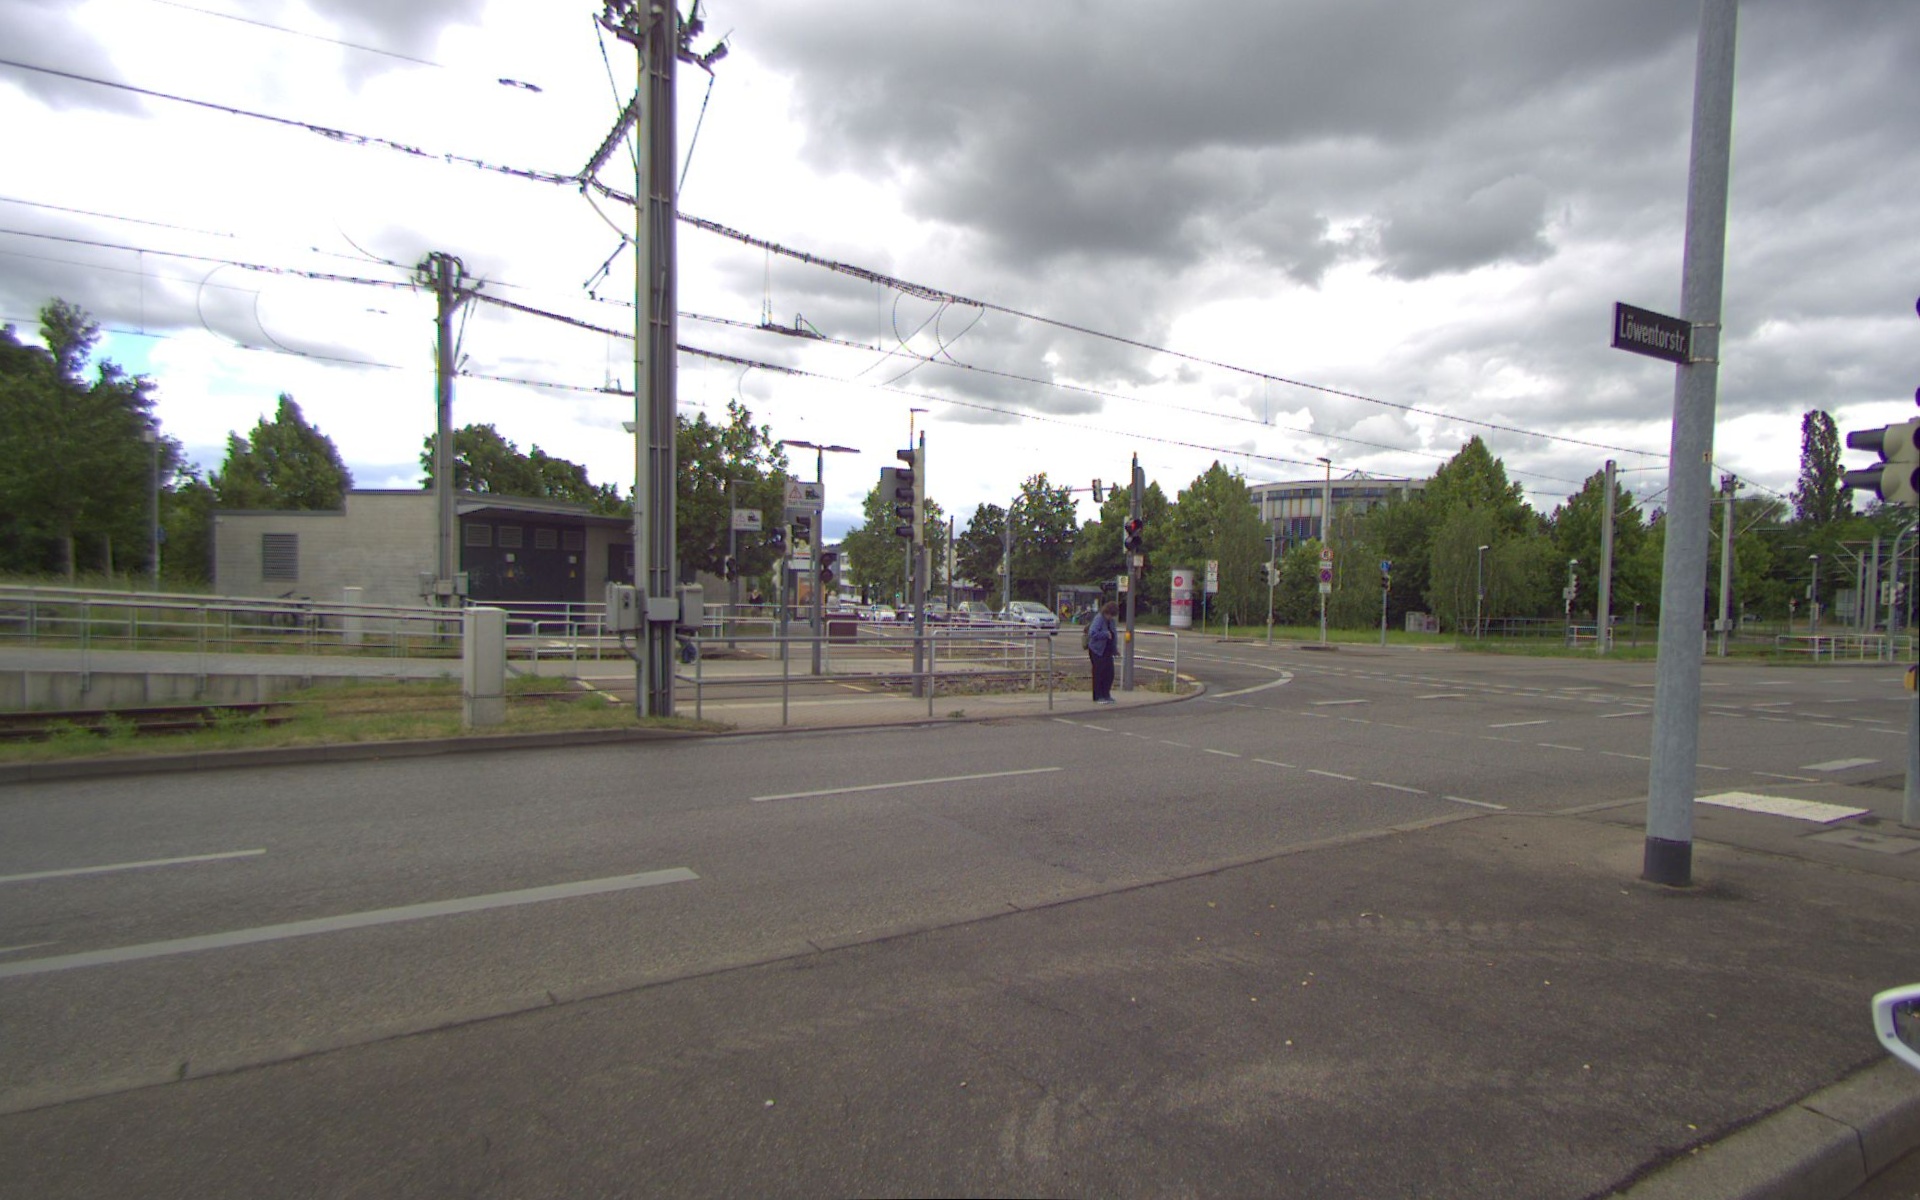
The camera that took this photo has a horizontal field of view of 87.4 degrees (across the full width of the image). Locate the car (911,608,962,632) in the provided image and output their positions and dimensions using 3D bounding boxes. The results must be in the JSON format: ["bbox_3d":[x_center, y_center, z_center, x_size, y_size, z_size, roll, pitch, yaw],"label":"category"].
[{"bbox_3d":[-1.415,1.135,58.281,1.777,1.350,4.362,1,0,-18],"label":"car"}]

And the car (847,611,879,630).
[{"bbox_3d":[-7.793,1.645,80.530,1.618,1.409,4.867,1,0,-17],"label":"car"}]

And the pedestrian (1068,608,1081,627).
[{"bbox_3d":[8.305,1.290,72.926,0.718,1.333,0.587,1,0,-15],"label":"pedestrian"}]

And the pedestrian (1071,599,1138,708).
[{"bbox_3d":[2.108,0.766,14.724,0.661,1.550,0.711,1,0,-25],"label":"pedestrian"}]

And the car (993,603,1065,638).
[{"bbox_3d":[3.160,0.915,47.044,1.805,1.556,4.199,1,0,-21],"label":"car"}]

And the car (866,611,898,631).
[{"bbox_3d":[-5.819,1.567,74.734,1.618,1.409,3.748,1,0,-17],"label":"car"}]

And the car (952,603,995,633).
[{"bbox_3d":[0.689,0.944,53.244,1.411,1.547,2.763,0,0,-19],"label":"car"}]

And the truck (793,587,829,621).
[{"bbox_3d":[-16.245,0.428,108.981,2.670,3.533,9.960,0,0,-16],"label":"truck"}]

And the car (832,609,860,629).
[{"bbox_3d":[-9.879,1.643,86.899,1.708,1.607,4.208,0,0,-17],"label":"car"}]

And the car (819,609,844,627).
[{"bbox_3d":[-12.065,1.662,94.019,1.618,1.607,4.046,0,0,-17],"label":"car"}]

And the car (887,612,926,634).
[{"bbox_3d":[-3.506,1.463,64.932,1.618,1.350,4.046,1,0,-17],"label":"car"}]

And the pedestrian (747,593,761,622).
[{"bbox_3d":[-12.008,0.430,58.503,0.539,1.692,0.639,1,0,10],"label":"pedestrian"}]

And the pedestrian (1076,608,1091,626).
[{"bbox_3d":[8.810,1.187,71.519,0.759,1.269,0.774,1,0,32],"label":"pedestrian"}]

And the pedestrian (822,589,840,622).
[{"bbox_3d":[-5.611,0.239,43.698,0.543,1.382,0.769,1,0,-24],"label":"pedestrian"}]

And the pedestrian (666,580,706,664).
[{"bbox_3d":[-5.311,0.424,19.441,0.539,1.593,0.560,4,-1,-31],"label":"pedestrian"}]

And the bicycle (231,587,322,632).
[{"bbox_3d":[-18.431,0.251,27.087,2.210,1.120,0.679,2,0,12],"label":"bicycle"}]
